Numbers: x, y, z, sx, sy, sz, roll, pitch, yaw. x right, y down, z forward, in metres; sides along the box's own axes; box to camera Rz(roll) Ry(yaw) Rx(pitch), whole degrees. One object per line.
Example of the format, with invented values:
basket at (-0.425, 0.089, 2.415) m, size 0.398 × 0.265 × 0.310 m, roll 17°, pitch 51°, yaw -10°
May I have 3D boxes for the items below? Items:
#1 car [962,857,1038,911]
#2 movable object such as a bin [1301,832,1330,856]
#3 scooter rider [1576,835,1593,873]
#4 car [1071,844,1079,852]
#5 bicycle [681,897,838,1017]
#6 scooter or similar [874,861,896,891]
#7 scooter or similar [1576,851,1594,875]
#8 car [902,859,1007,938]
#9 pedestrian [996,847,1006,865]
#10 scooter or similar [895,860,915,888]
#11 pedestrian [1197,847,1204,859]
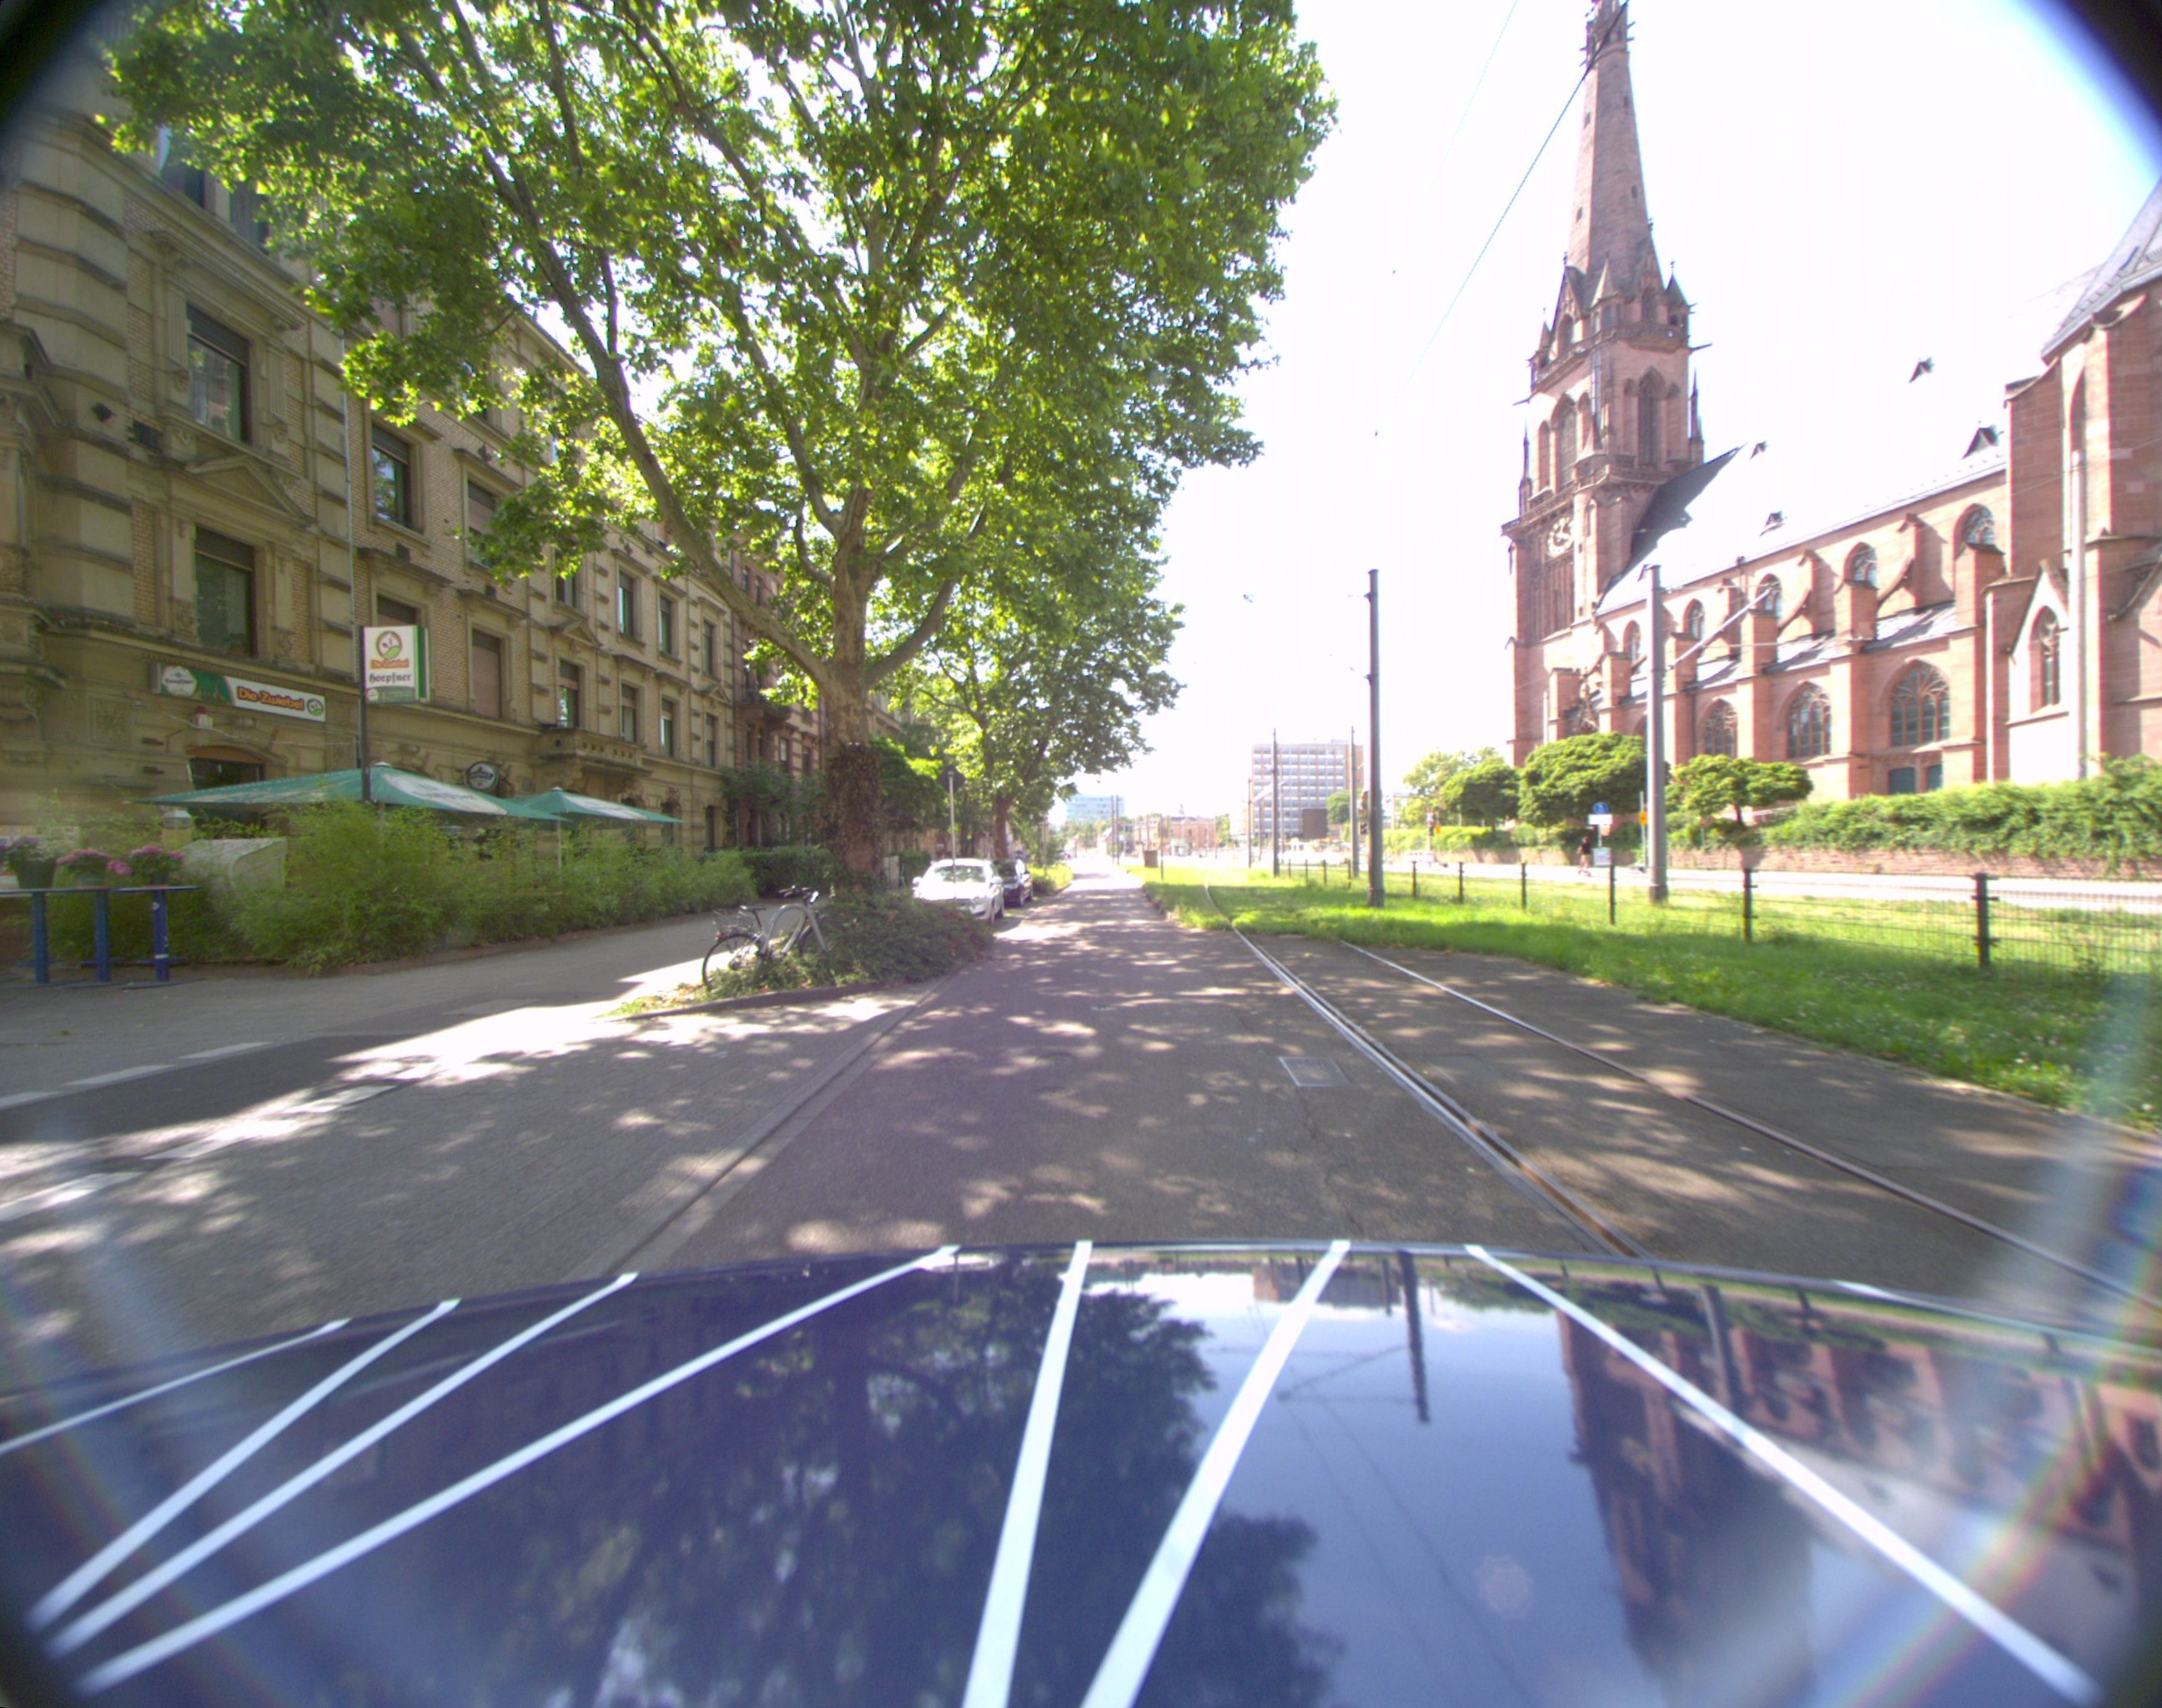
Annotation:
car at (-2.513, 0.892, 24.723) m, size 1.838 × 1.499 × 4.643 m, roll -1°, pitch 0°, yaw 1°
movable object such as a bin at (38.018, -1.659, 123.197) m, size 3.340 × 3.859 × 2.932 m, roll -1°, pitch 1°, yaw -32°
scooter rider at (25.456, -0.001, 38.393) m, size 0.662 × 1.856 × 0.670 m, roll 0°, pitch 1°, yaw 38°
car at (-1.644, -1.648, 205.972) m, size 1.998 × 2.002 × 4.000 m, roll -1°, pitch 0°, yaw 1°
bicycle at (-3.512, 1.077, 8.431) m, size 0.421 × 1.099 × 1.619 m, roll 0°, pitch 1°, yaw 33°
scooter or similar at (-8.341, 0.915, 32.351) m, size 0.583 × 1.240 × 1.145 m, roll -1°, pitch 1°, yaw 1°
scooter or similar at (25.484, 0.460, 38.429) m, size 0.655 × 1.197 × 1.273 m, roll 0°, pitch 1°, yaw 38°
car at (-2.772, 0.913, 17.603) m, size 1.838 × 1.499 × 4.490 m, roll -1°, pitch 0°, yaw -3°
pedestrian at (-7.671, 0.180, 72.871) m, size 0.797 × 1.708 × 0.967 m, roll -1°, pitch 1°, yaw 1°
scooter or similar at (-8.135, 0.907, 35.072) m, size 0.583 × 1.275 × 1.145 m, roll -1°, pitch 1°, yaw 3°
pedestrian at (17.095, -0.155, 108.416) m, size 0.860 × 1.644 × 0.759 m, roll -1°, pitch 1°, yaw 1°
